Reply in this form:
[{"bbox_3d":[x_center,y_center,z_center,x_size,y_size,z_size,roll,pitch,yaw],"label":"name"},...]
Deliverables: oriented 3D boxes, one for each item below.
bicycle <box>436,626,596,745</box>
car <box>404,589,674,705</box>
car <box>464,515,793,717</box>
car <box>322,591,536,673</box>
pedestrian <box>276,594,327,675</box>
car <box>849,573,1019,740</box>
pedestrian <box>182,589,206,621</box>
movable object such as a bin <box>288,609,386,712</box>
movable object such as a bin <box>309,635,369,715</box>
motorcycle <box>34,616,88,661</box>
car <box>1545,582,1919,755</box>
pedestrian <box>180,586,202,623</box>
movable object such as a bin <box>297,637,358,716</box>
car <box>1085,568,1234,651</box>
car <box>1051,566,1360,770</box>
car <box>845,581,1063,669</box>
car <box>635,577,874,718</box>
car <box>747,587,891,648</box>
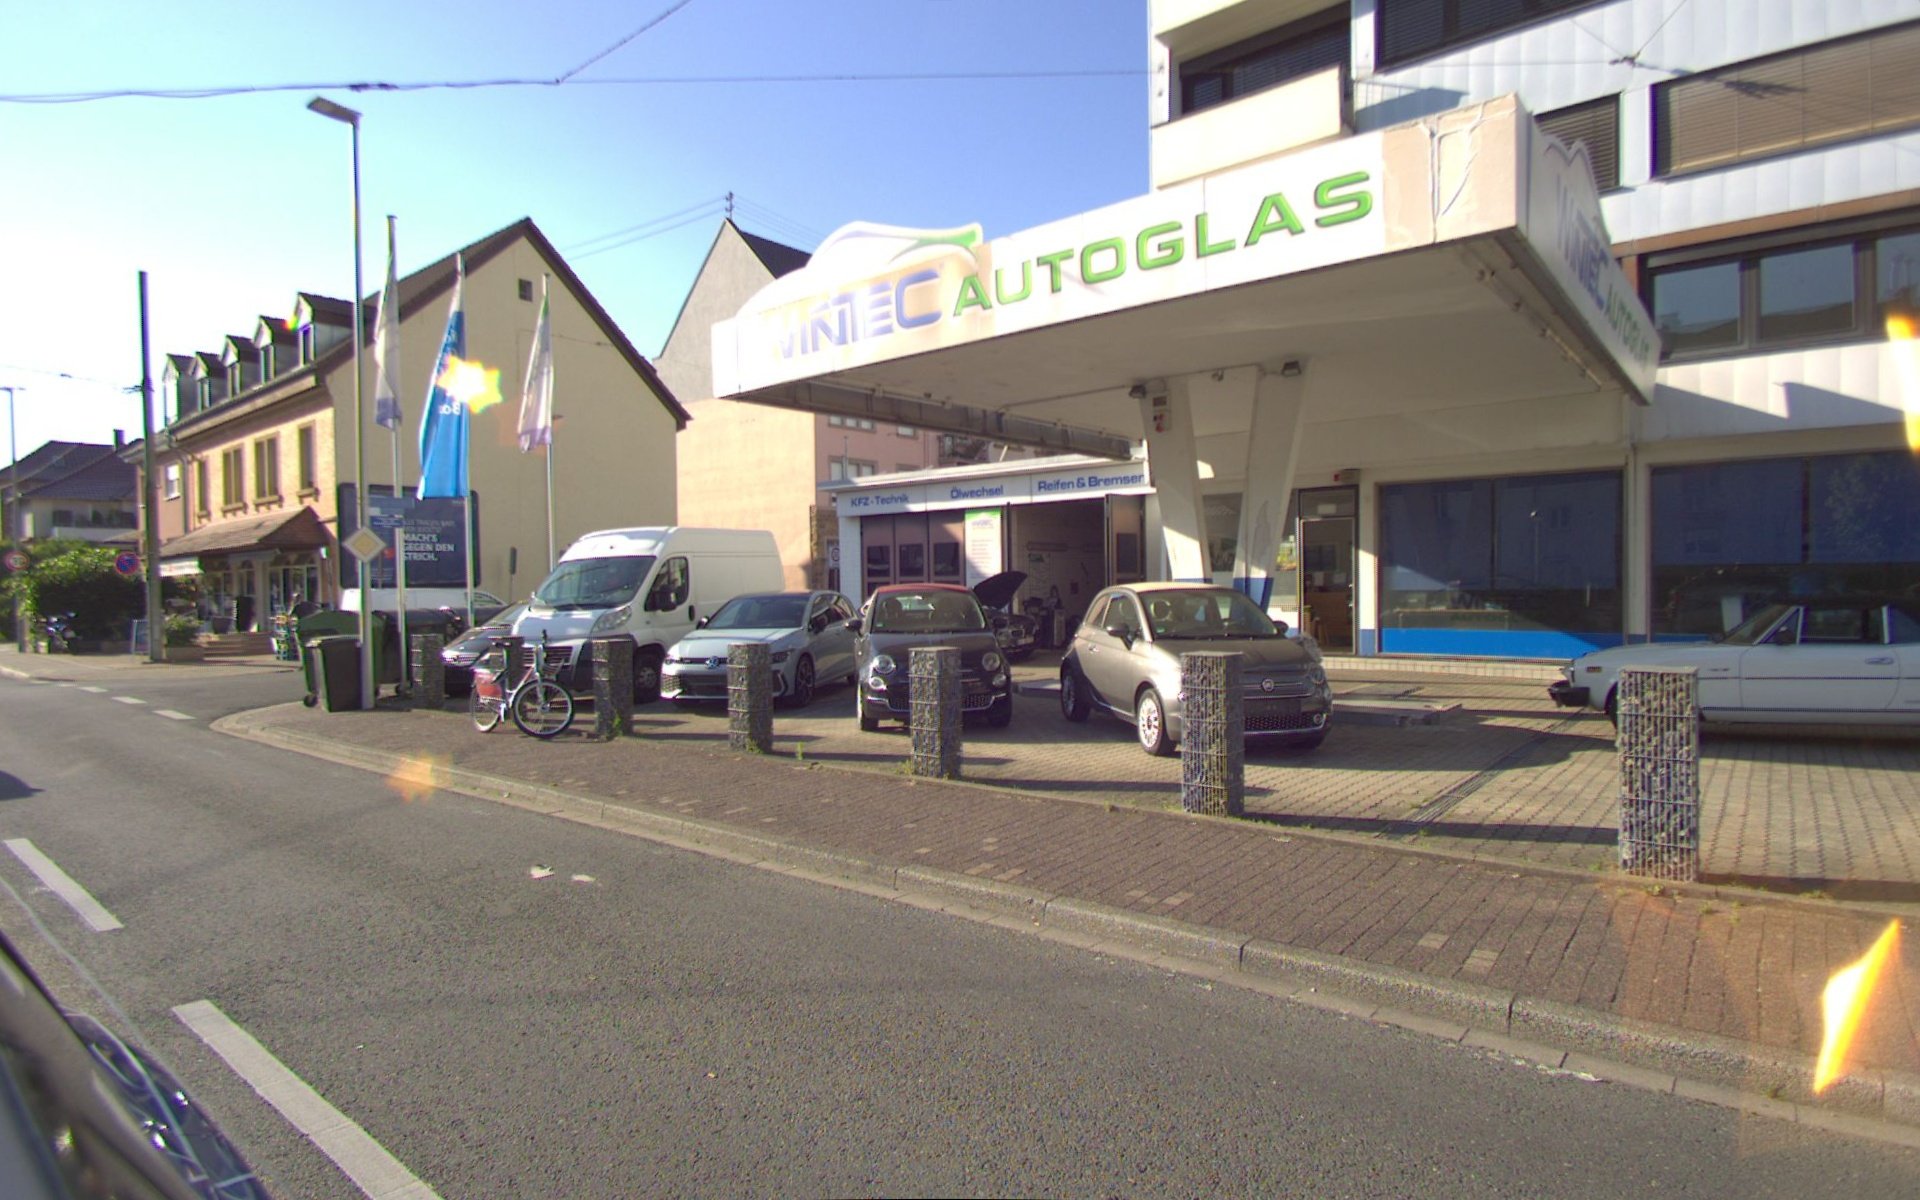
[{"bbox_3d":[-4.905,0.898,11.145,1.774,1.186,0.718,-1,0,31],"label":"bicycle"},{"bbox_3d":[-6.834,0.689,16.893,1.763,1.580,3.966,-2,1,26],"label":"car"},{"bbox_3d":[-4.657,0.157,15.246,2.091,2.488,5.042,-1,1,18],"label":"car"},{"bbox_3d":[-13.844,0.754,26.614,1.997,1.947,4.571,-1,0,38],"label":"car"},{"bbox_3d":[-15.774,0.822,24.233,0.795,1.882,0.809,-1,0,40],"label":"pedestrian"},{"bbox_3d":[-0.430,0.527,11.508,1.597,1.580,3.399,-1,1,-6],"label":"car"},{"bbox_3d":[-25.967,0.159,34.299,0.381,1.055,0.521,-1,0,24],"label":"pedestrian"},{"bbox_3d":[-9.781,0.936,15.951,1.040,1.494,1.316,-3,-2,-21],"label":"movable object such as a bin"},{"bbox_3d":[-8.887,1.071,14.479,0.631,1.077,0.581,-2,-2,-38],"label":"movable object such as a bin"},{"bbox_3d":[-28.015,1.172,31.533,2.229,1.292,0.831,0,2,37],"label":"motorcycle"},{"bbox_3d":[7.431,0.527,8.560,4.131,1.294,1.572,-2,0,37],"label":"car"},{"bbox_3d":[-26.786,0.148,35.245,0.465,1.268,0.517,-1,0,42],"label":"pedestrian"},{"bbox_3d":[-9.310,1.106,14.894,0.652,1.070,0.586,-4,1,-38],"label":"movable object such as a bin"},{"bbox_3d":[4.789,0.164,23.842,1.769,1.722,4.263,-2,1,36],"label":"car"},{"bbox_3d":[2.148,0.520,9.804,1.595,1.580,3.402,-1,1,-11],"label":"car"},{"bbox_3d":[-0.196,0.488,20.745,4.311,1.580,1.750,-1,1,39],"label":"car"},{"bbox_3d":[-2.562,0.514,13.667,1.754,1.580,3.987,-2,1,11],"label":"car"},{"bbox_3d":[-4.193,0.462,30.483,1.999,1.536,3.947,5,4,40],"label":"car"}]
